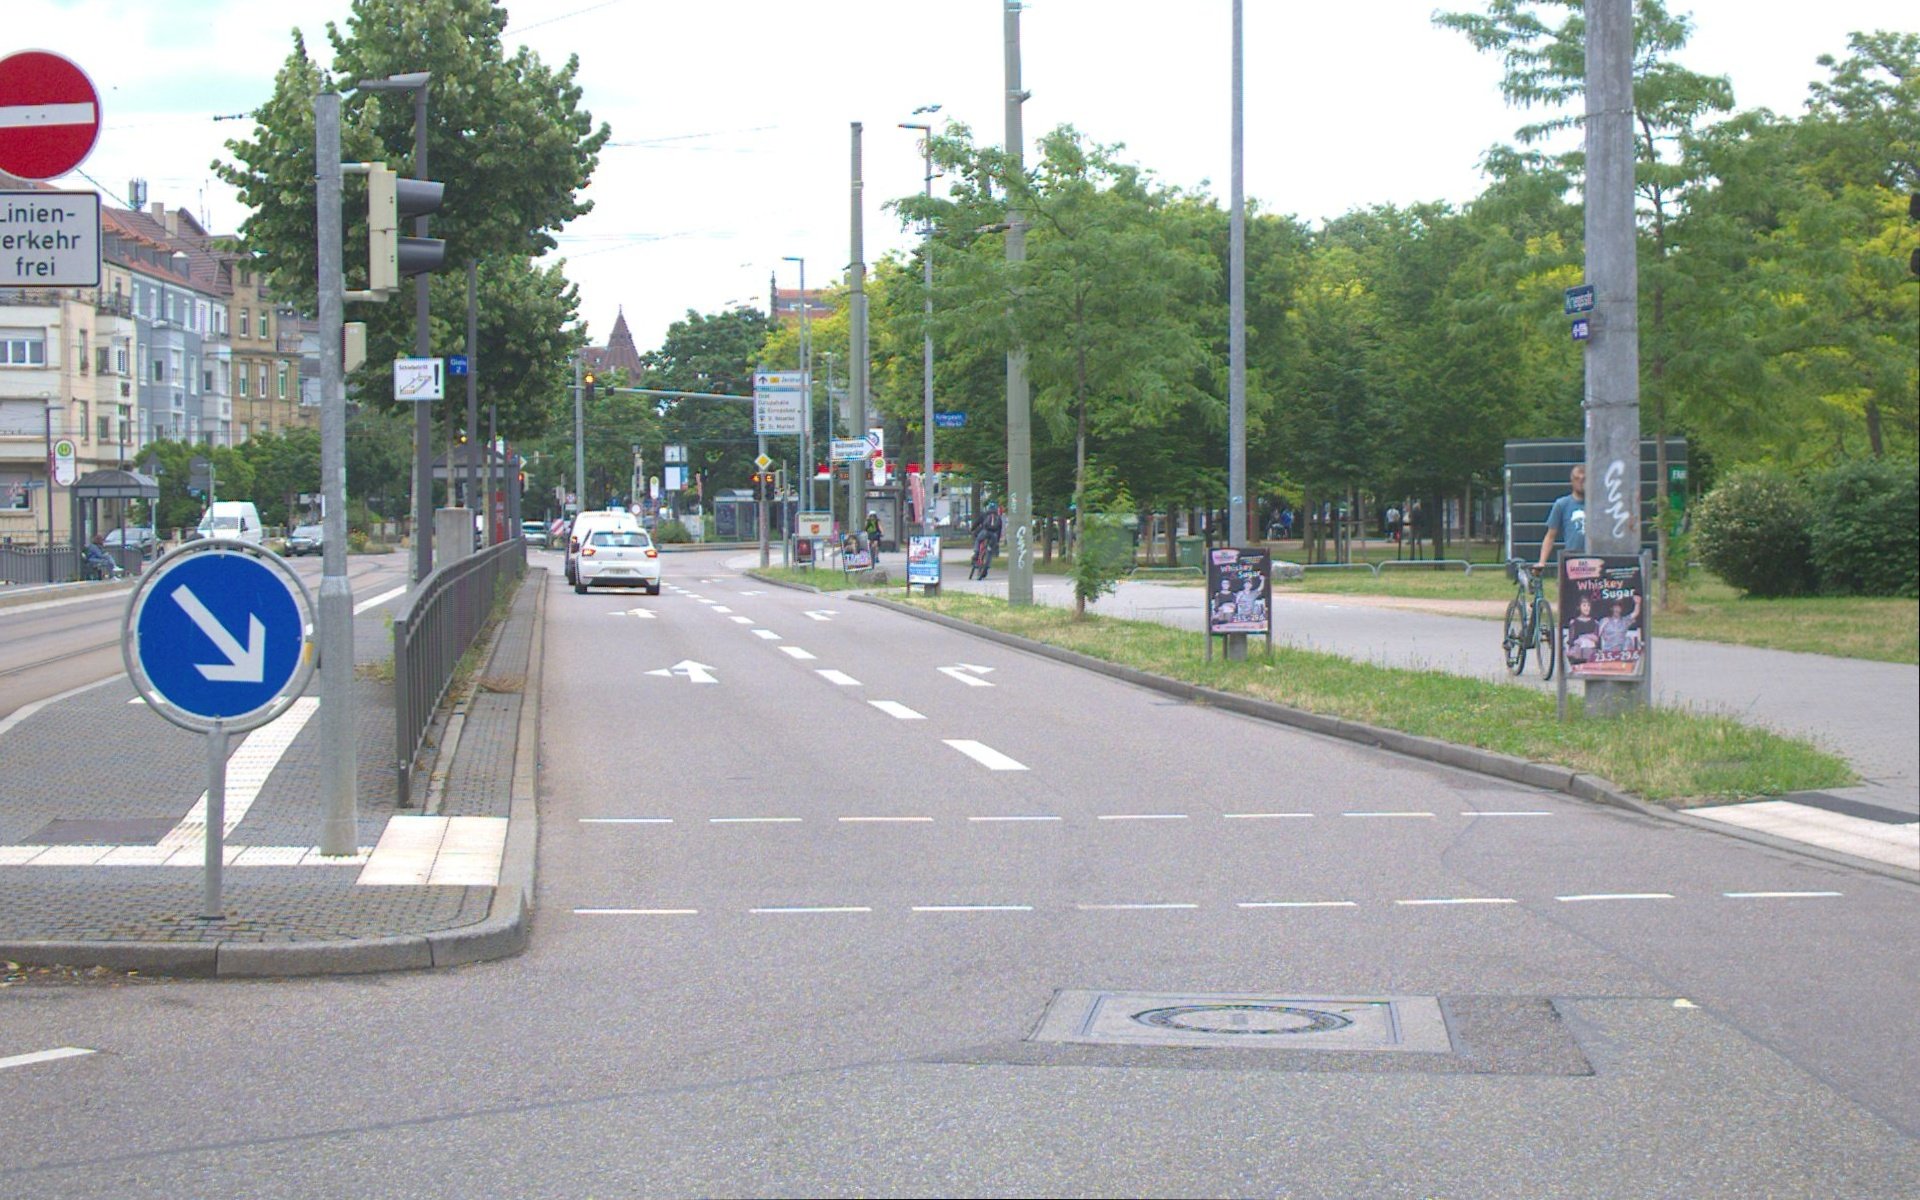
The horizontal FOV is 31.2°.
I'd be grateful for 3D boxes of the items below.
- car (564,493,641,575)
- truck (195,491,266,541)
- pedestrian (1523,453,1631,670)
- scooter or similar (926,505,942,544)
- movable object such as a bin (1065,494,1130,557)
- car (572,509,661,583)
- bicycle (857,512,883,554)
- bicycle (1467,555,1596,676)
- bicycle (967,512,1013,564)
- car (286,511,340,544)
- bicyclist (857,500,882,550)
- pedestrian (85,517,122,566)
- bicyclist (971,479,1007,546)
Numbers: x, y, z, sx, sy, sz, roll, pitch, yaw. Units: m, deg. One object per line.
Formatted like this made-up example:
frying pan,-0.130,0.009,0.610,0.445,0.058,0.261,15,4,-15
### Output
car,-8.881,-1.655,85.140,1.782,1.956,4.383,-1,2,-7
truck,-30.290,-3.484,142.861,1.788,2.025,5.396,-1,1,0
pedestrian,5.387,-0.343,30.042,0.739,1.863,0.682,-1,1,-7
scooter or similar,-0.780,-2.257,102.430,0.376,1.137,1.199,-1,2,4
movable object such as a bin,3.054,-1.651,76.470,1.282,1.385,1.159,-1,1,-6
car,-7.196,-1.159,72.388,1.782,1.467,4.011,-1,2,-5
bicycle,-2.494,-1.864,95.511,0.679,1.151,1.898,-1,2,-2
bicycle,5.031,0.123,30.364,0.654,0.999,1.779,-1,2,-6
bicycle,0.691,-1.435,79.276,0.679,1.151,1.899,-1,2,-11
car,-29.640,-3.309,157.602,1.770,1.488,3.887,-1,1,0
bicyclist,-2.512,-2.085,95.513,0.679,1.375,0.727,-1,2,-2
pedestrian,-22.866,-1.561,91.752,0.864,1.262,0.694,-1,2,-9
bicyclist,0.664,-2.021,79.331,0.679,1.532,0.673,-1,2,-11
